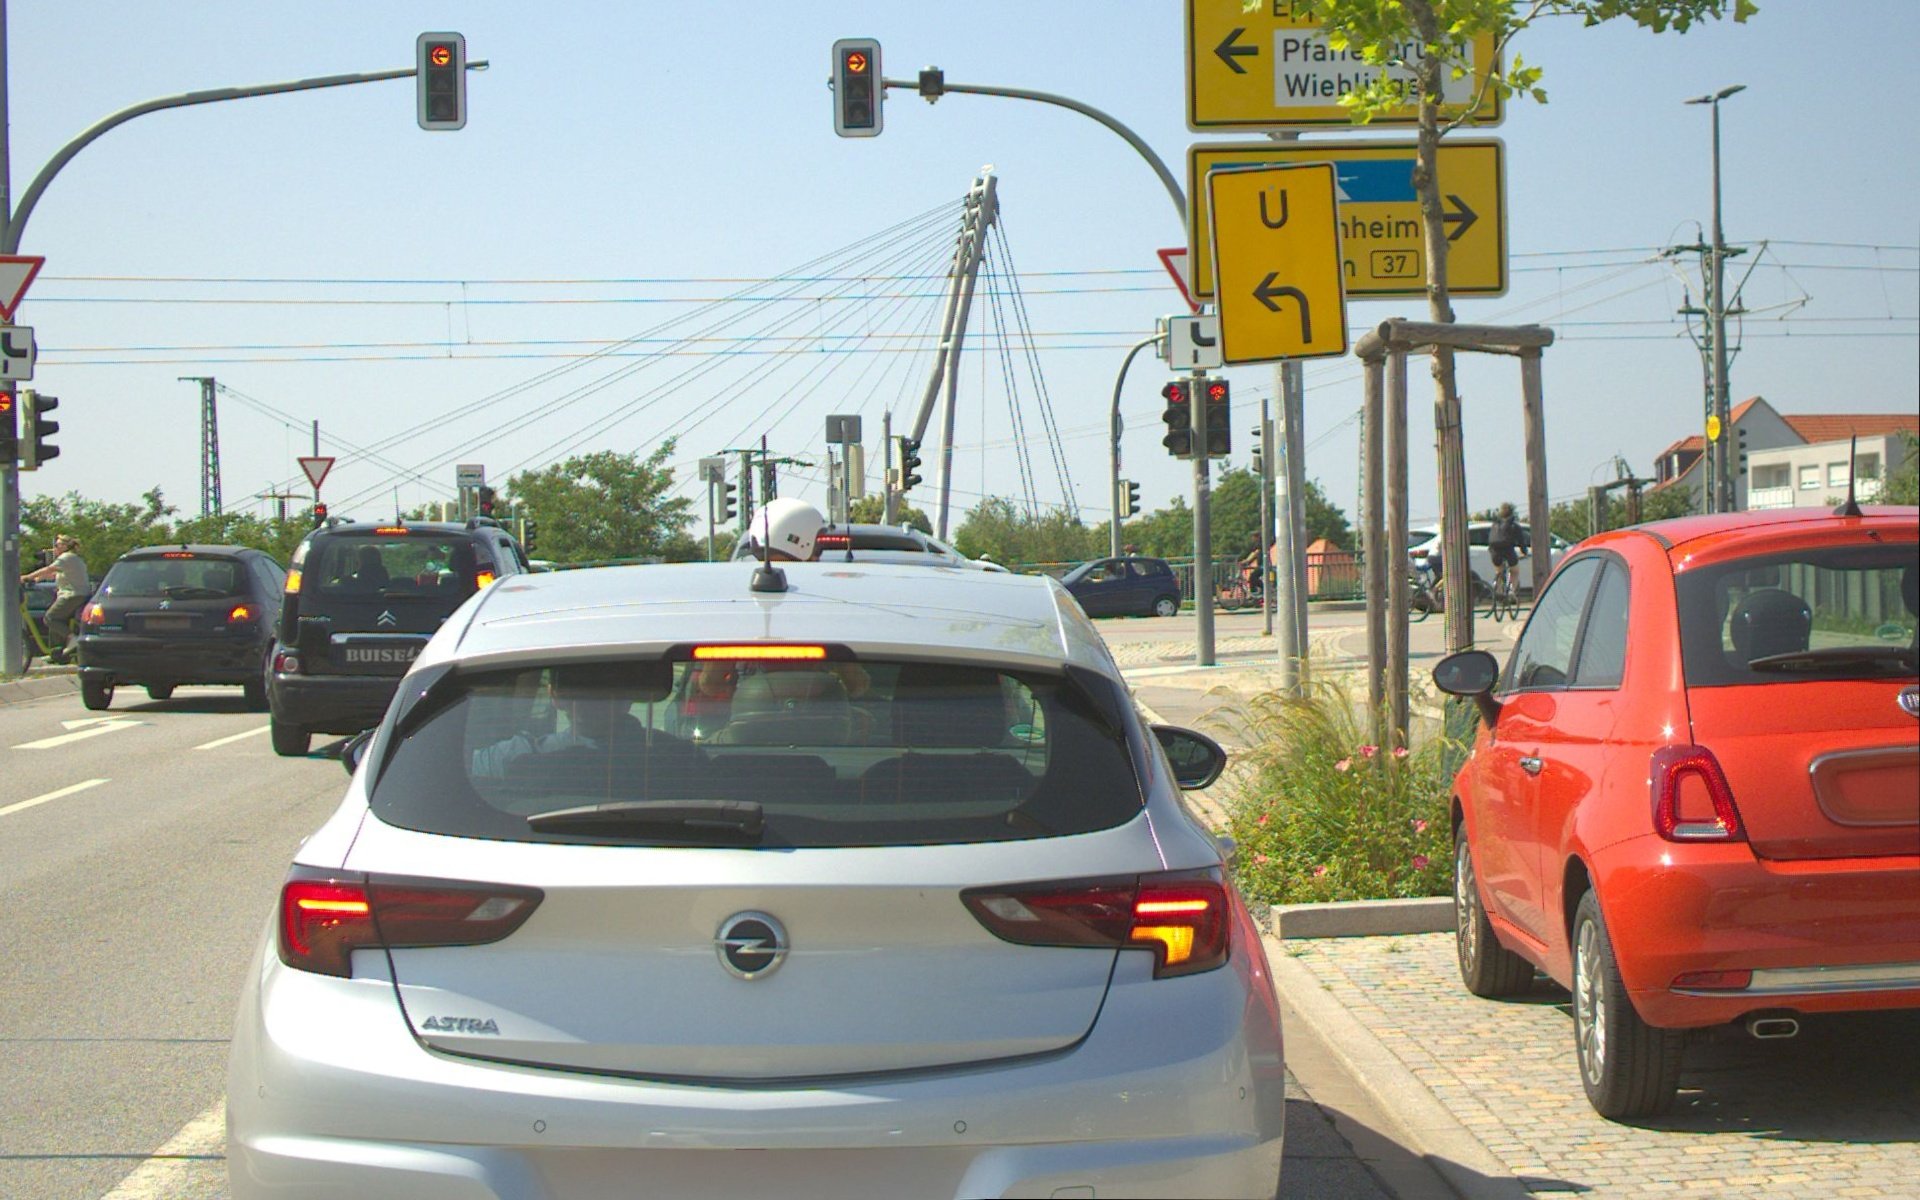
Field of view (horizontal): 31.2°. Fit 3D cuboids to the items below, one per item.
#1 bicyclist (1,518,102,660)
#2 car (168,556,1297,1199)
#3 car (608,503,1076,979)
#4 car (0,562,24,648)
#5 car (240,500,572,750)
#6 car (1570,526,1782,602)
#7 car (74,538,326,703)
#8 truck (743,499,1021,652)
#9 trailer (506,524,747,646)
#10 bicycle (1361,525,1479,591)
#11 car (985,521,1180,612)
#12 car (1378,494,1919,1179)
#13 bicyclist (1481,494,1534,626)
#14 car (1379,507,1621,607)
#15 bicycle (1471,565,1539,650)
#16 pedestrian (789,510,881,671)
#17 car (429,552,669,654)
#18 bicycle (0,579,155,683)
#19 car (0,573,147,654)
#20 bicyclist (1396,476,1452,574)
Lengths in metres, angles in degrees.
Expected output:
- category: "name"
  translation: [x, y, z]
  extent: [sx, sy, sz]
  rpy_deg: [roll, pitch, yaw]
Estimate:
- category: "bicyclist"
  translation: [-10.204, -0.119, 38.641]
  extent: [0.945, 1.563, 0.823]
  rpy_deg: [1, 0, -5]
- category: "car"
  translation: [-0.387, 0.669, 7.303]
  extent: [1.690, 1.514, 4.271]
  rpy_deg: [0, 1, -1]
- category: "car"
  translation: [-0.463, 0.502, 14.173]
  extent: [1.634, 1.668, 3.745]
  rpy_deg: [1, 0, -1]
- category: "car"
  translation: [-20.047, 0.068, 66.366]
  extent: [3.512, 1.635, 1.797]
  rpy_deg: [1, 0, 27]
- category: "car"
  translation: [-3.879, 0.161, 24.666]
  extent: [1.803, 1.616, 3.917]
  rpy_deg: [1, 0, -1]
- category: "car"
  translation: [16.226, -0.816, 77.926]
  extent: [4.244, 1.668, 2.001]
  rpy_deg: [0, 0, -18]
- category: "car"
  translation: [-6.775, 0.171, 30.922]
  extent: [1.587, 1.390, 3.340]
  rpy_deg: [0, 0, -1]
- category: "truck"
  translation: [-1.385, -0.425, 59.774]
  extent: [4.693, 2.532, 2.000]
  rpy_deg: [1, 0, -3]
- category: "trailer"
  translation: [-5.747, -0.263, 59.619]
  extent: [3.986, 2.007, 2.000]
  rpy_deg: [1, 0, -2]
- category: "bicycle"
  translation: [7.663, -0.694, 57.315]
  extent: [1.866, 1.064, 0.578]
  rpy_deg: [1, 0, -1]
- category: "car"
  translation: [2.738, -0.749, 77.309]
  extent: [3.986, 2.007, 2.001]
  rpy_deg: [0, 0, -13]
- category: "car"
  translation: [2.358, 0.494, 10.013]
  extent: [1.669, 1.534, 3.917]
  rpy_deg: [-2, 2, -1]
- category: "bicyclist"
  translation: [7.848, -0.571, 49.295]
  extent: [0.635, 1.881, 0.595]
  rpy_deg: [1, 0, 18]
- category: "car"
  translation: [10.059, -0.794, 64.144]
  extent: [4.032, 1.808, 1.932]
  rpy_deg: [0, 0, -10]
- category: "bicycle"
  translation: [7.819, 0.101, 49.272]
  extent: [0.554, 1.174, 2.086]
  rpy_deg: [2, 1, 20]
- category: "pedestrian"
  translation: [-1.467, -0.114, 40.228]
  extent: [0.740, 1.857, 0.753]
  rpy_deg: [1, 0, -40]
- category: "car"
  translation: [-7.559, 0.047, 63.389]
  extent: [3.988, 1.778, 1.999]
  rpy_deg: [1, 0, 8]
- category: "bicycle"
  translation: [-10.307, 0.339, 38.631]
  extent: [2.357, 1.123, 0.677]
  rpy_deg: [1, 0, -5]
- category: "car"
  translation: [-16.554, 0.218, 61.050]
  extent: [3.778, 1.385, 1.665]
  rpy_deg: [1, 0, 16]
- category: "bicyclist"
  translation: [7.720, -1.242, 57.269]
  extent: [0.771, 1.604, 0.949]
  rpy_deg: [1, 0, -1]
